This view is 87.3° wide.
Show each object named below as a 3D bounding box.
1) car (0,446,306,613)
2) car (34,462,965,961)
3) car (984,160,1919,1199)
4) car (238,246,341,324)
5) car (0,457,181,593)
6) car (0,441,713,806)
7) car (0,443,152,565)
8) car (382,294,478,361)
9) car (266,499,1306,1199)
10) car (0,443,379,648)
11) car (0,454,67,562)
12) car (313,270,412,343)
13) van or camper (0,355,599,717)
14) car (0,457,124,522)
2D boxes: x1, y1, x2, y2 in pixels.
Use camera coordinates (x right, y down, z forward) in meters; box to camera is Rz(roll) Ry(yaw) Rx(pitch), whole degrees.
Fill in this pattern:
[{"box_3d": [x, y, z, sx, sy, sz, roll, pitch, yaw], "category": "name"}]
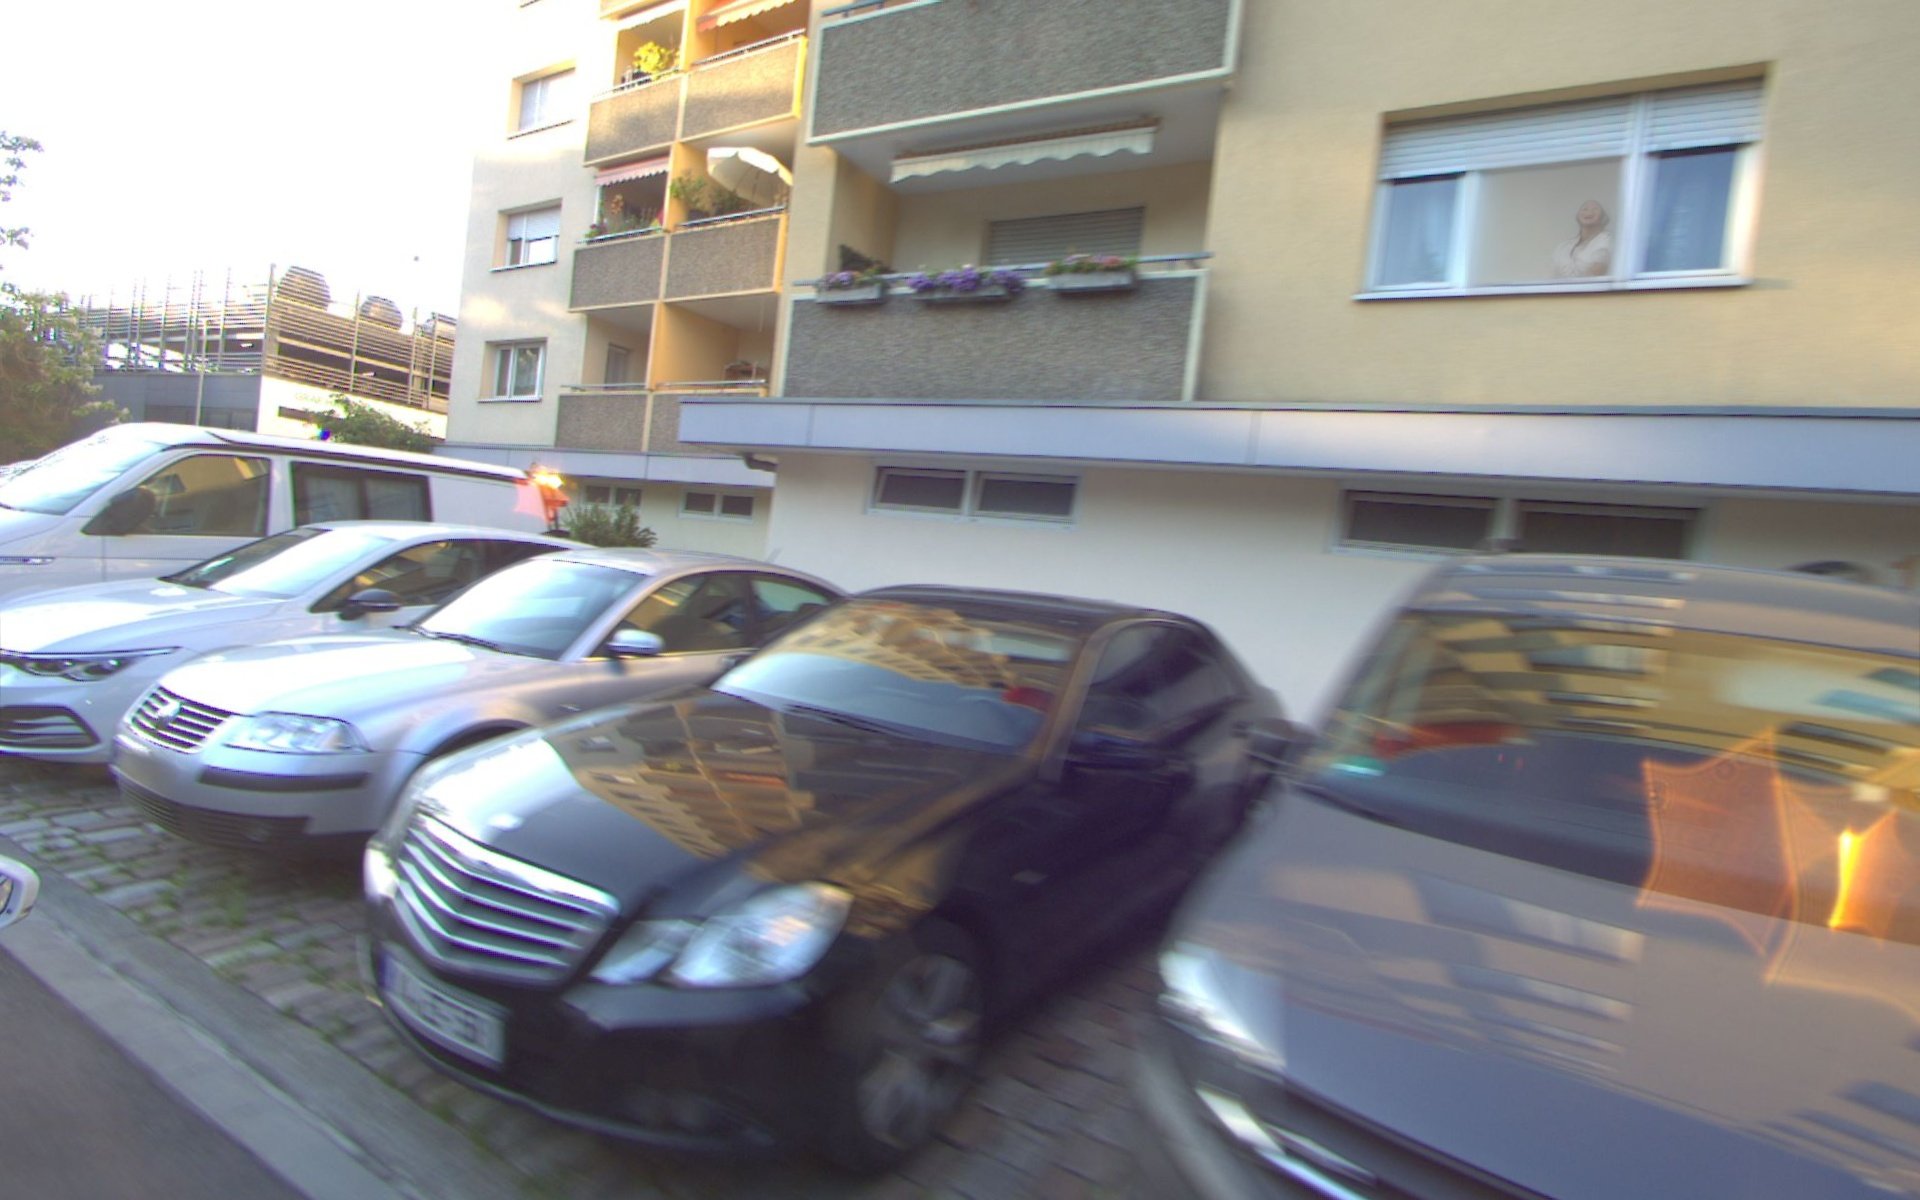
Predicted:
[{"box_3d": [-10.140, -0.777, 11.233, 1.814, 1.684, 4.405, 5, 2, 29], "category": "car"}, {"box_3d": [-1.929, 0.388, 5.616, 1.815, 1.613, 4.406, 5, 1, 31], "category": "car"}, {"box_3d": [2.042, 0.601, 3.187, 1.815, 2.007, 4.639, 6, 1, 31], "category": "car"}, {"box_3d": [-26.115, -12.192, 39.158, 3.938, 2.038, 1.994, 7, 0, 37], "category": "car"}, {"box_3d": [-12.475, -1.020, 12.190, 1.814, 1.551, 4.407, 5, 1, 29], "category": "car"}, {"box_3d": [-3.994, 0.128, 6.872, 1.815, 1.652, 4.406, 5, 1, 31], "category": "car"}, {"box_3d": [-14.356, -1.448, 14.094, 1.816, 1.654, 4.398, 8, 5, 33], "category": "car"}, {"box_3d": [-22.873, -11.680, 43.369, 3.938, 2.038, 1.994, 7, 0, 37], "category": "car"}, {"box_3d": [-0.018, 0.663, 4.256, 1.815, 1.583, 4.406, 5, 1, 31], "category": "car"}, {"box_3d": [-8.170, -0.500, 9.504, 1.751, 1.684, 4.327, 5, 2, 29], "category": "car"}, {"box_3d": [-16.659, -1.604, 15.147, 1.814, 1.652, 4.408, 5, 1, 29], "category": "car"}, {"box_3d": [-24.421, -11.915, 41.084, 3.938, 2.038, 1.994, 7, 0, 37], "category": "car"}, {"box_3d": [-5.758, -0.480, 8.227, 2.005, 2.198, 5.132, 7, 4, 29], "category": "van or camper"}, {"box_3d": [-27.640, -3.360, 29.619, 1.794, 1.523, 4.291, 8, 2, 36], "category": "car"}]
